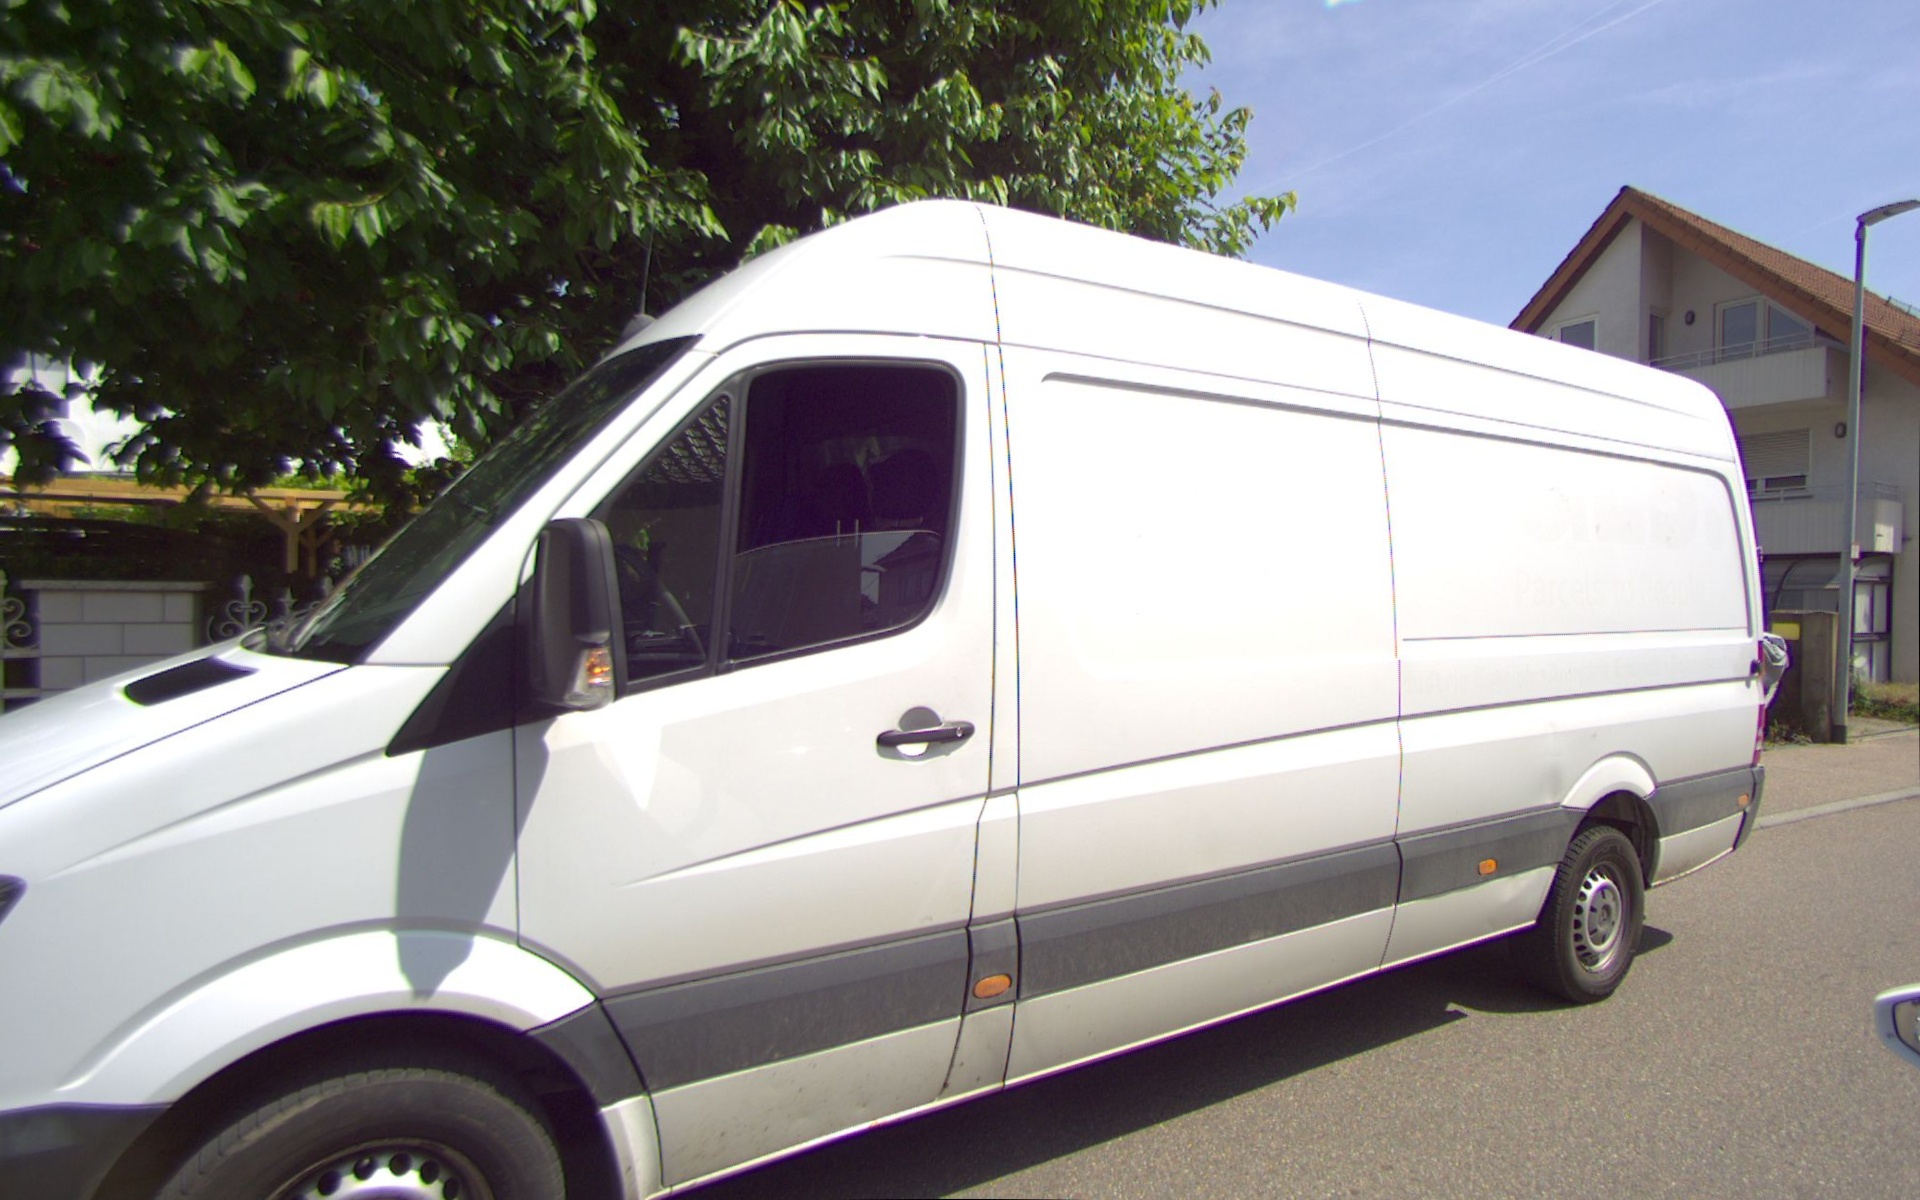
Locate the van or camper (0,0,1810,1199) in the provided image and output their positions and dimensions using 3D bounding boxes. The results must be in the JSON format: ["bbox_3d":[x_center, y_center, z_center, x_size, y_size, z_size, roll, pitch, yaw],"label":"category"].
[{"bbox_3d":[0.543,0.133,3.912,6.730,2.606,2.173,1,1,-31],"label":"van or camper"}]

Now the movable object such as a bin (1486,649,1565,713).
[{"bbox_3d":[8.685,1.226,15.438,0.765,0.917,0.795,1,0,-31],"label":"movable object such as a bin"}]

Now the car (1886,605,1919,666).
[{"bbox_3d":[27.322,1.067,27.044,1.695,1.598,3.093,1,3,-31],"label":"car"}]

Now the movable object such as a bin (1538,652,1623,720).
[{"bbox_3d":[9.105,1.246,14.750,0.765,0.917,0.795,1,0,-31],"label":"movable object such as a bin"}]

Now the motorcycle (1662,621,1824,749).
[{"bbox_3d":[9.442,0.972,12.084,2.326,1.411,0.779,1,0,-32],"label":"motorcycle"}]

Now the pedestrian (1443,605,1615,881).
[{"bbox_3d":[3.456,0.819,6.112,0.718,1.538,0.569,1,3,-33],"label":"pedestrian"}]
